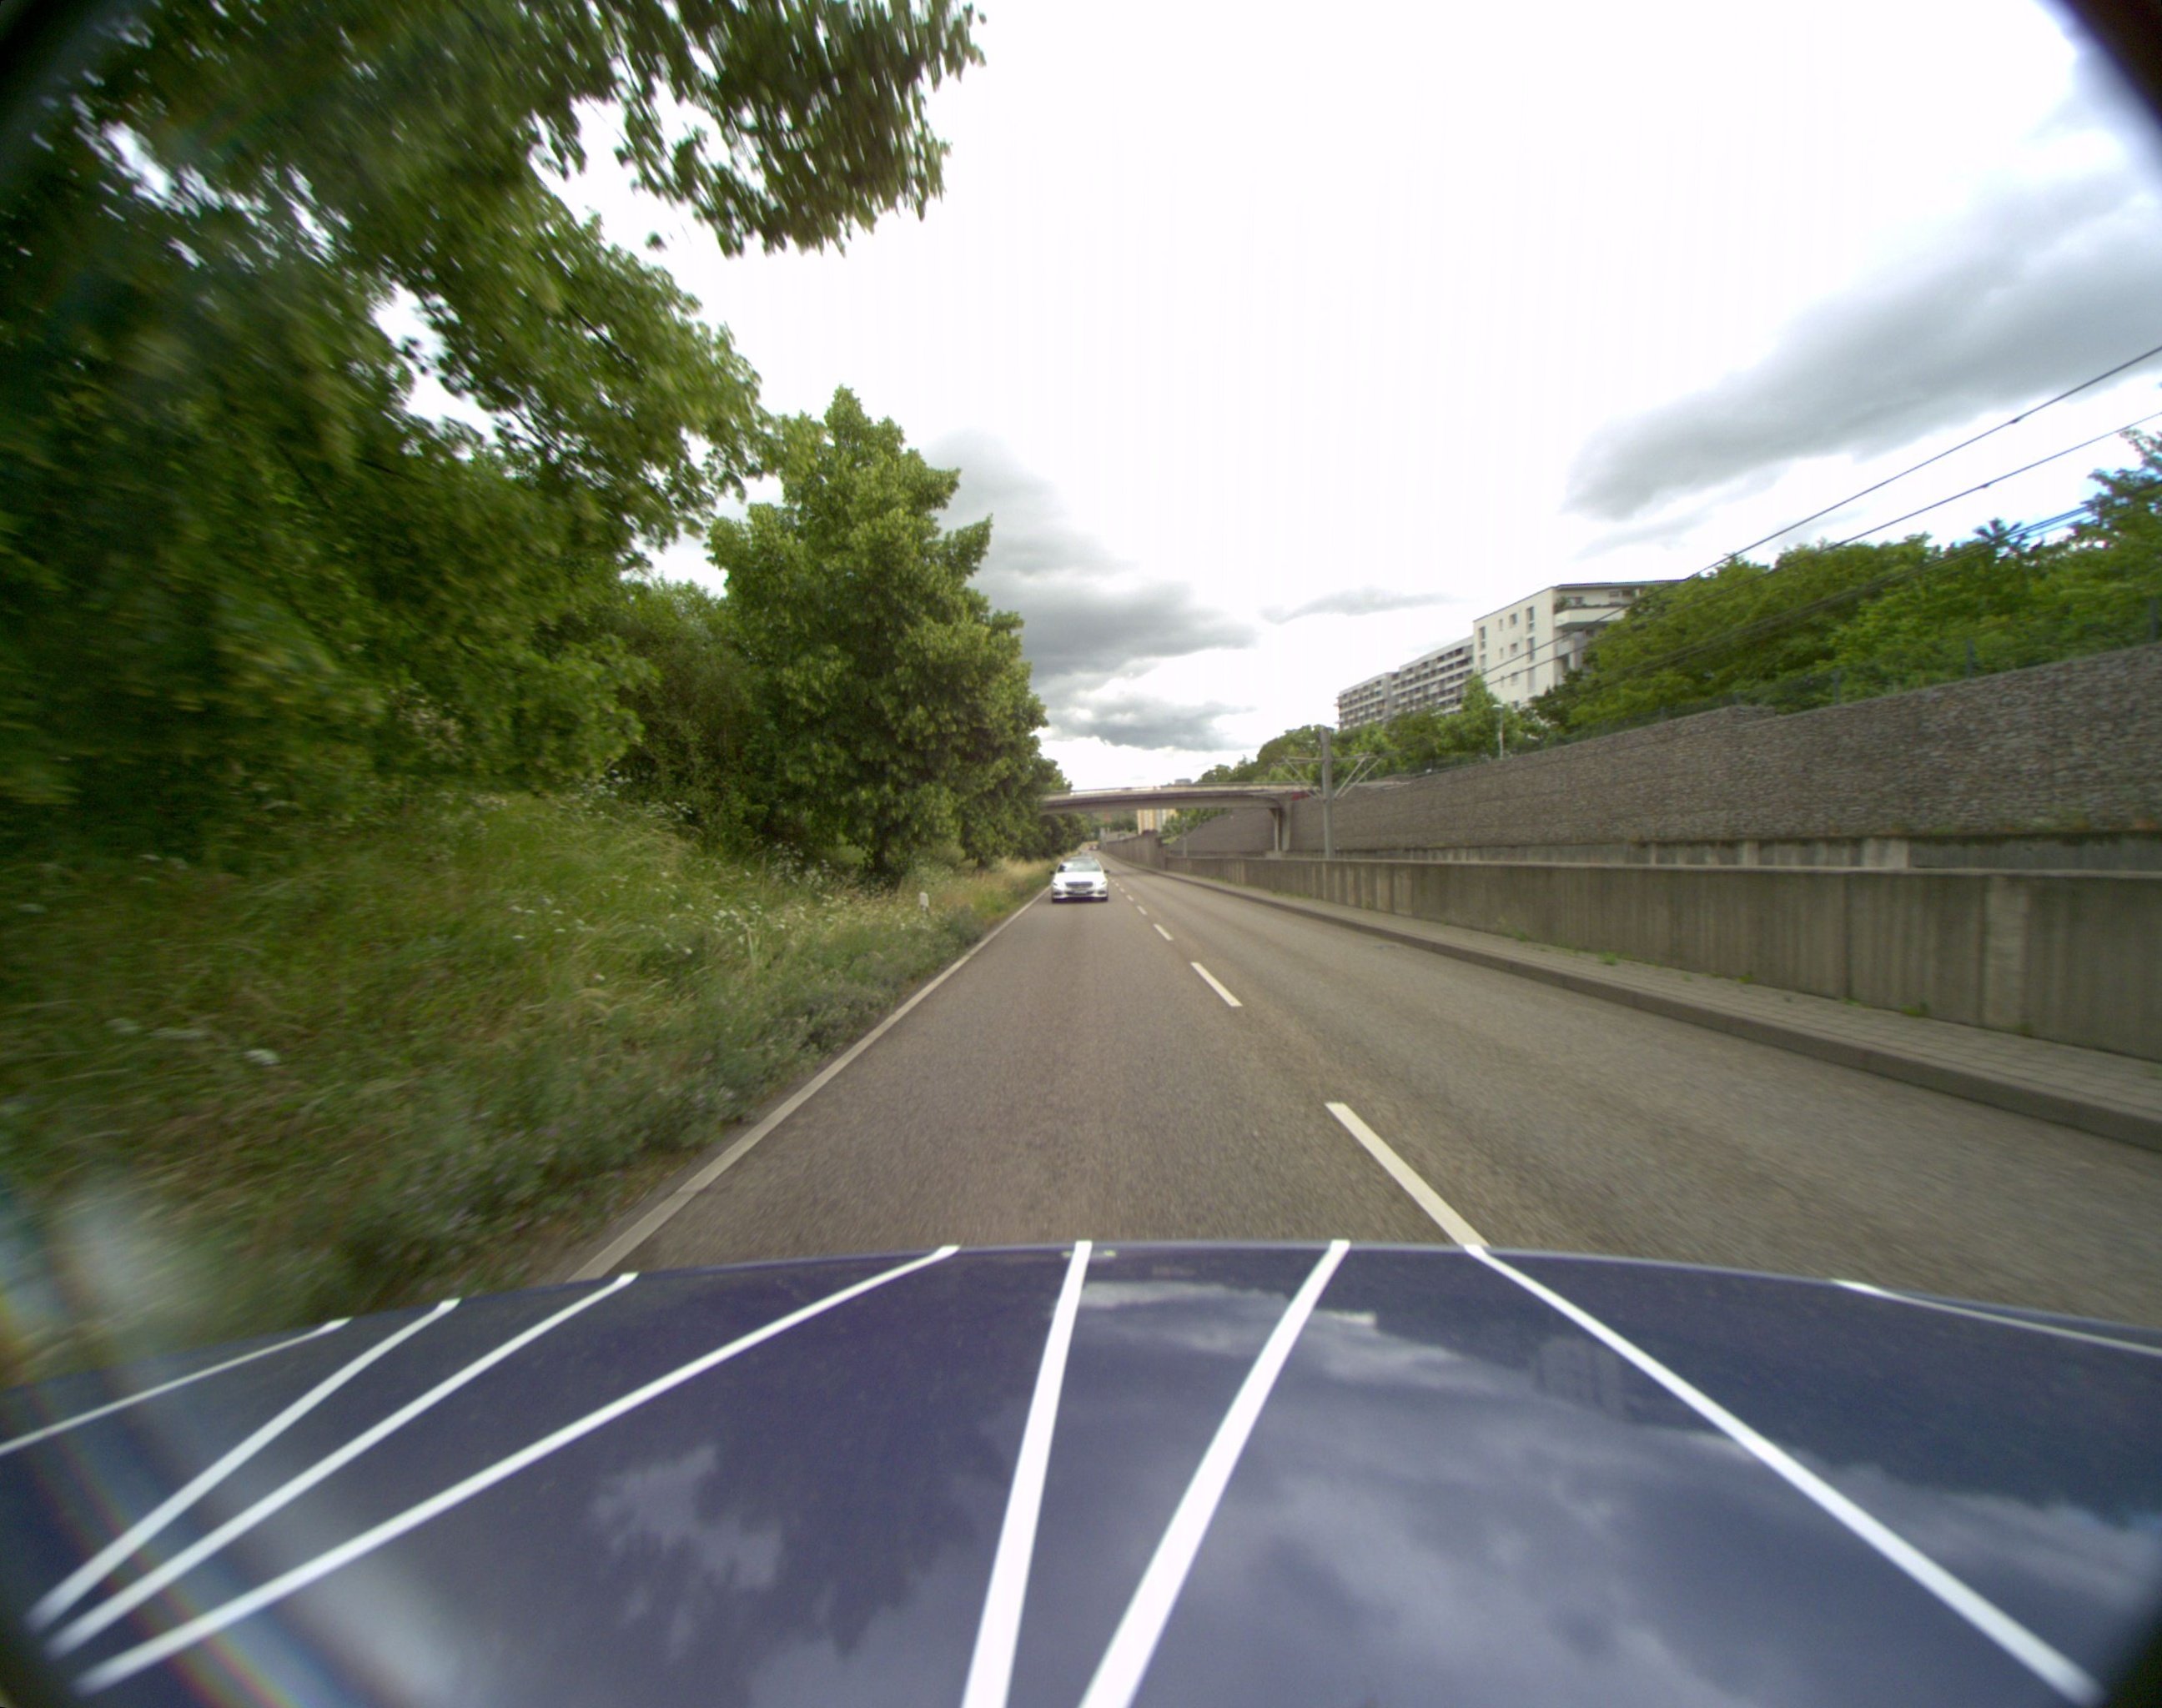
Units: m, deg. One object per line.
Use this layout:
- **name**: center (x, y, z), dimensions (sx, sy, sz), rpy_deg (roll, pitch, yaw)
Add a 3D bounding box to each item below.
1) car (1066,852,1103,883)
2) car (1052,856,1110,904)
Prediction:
- **car**: center (0.184, 0.707, 41.465), dimensions (1.878, 1.459, 3.999), rpy_deg (-2, 1, 1)
- **car**: center (0.029, 0.838, 26.520), dimensions (1.842, 1.499, 4.160), rpy_deg (-1, 0, 1)
